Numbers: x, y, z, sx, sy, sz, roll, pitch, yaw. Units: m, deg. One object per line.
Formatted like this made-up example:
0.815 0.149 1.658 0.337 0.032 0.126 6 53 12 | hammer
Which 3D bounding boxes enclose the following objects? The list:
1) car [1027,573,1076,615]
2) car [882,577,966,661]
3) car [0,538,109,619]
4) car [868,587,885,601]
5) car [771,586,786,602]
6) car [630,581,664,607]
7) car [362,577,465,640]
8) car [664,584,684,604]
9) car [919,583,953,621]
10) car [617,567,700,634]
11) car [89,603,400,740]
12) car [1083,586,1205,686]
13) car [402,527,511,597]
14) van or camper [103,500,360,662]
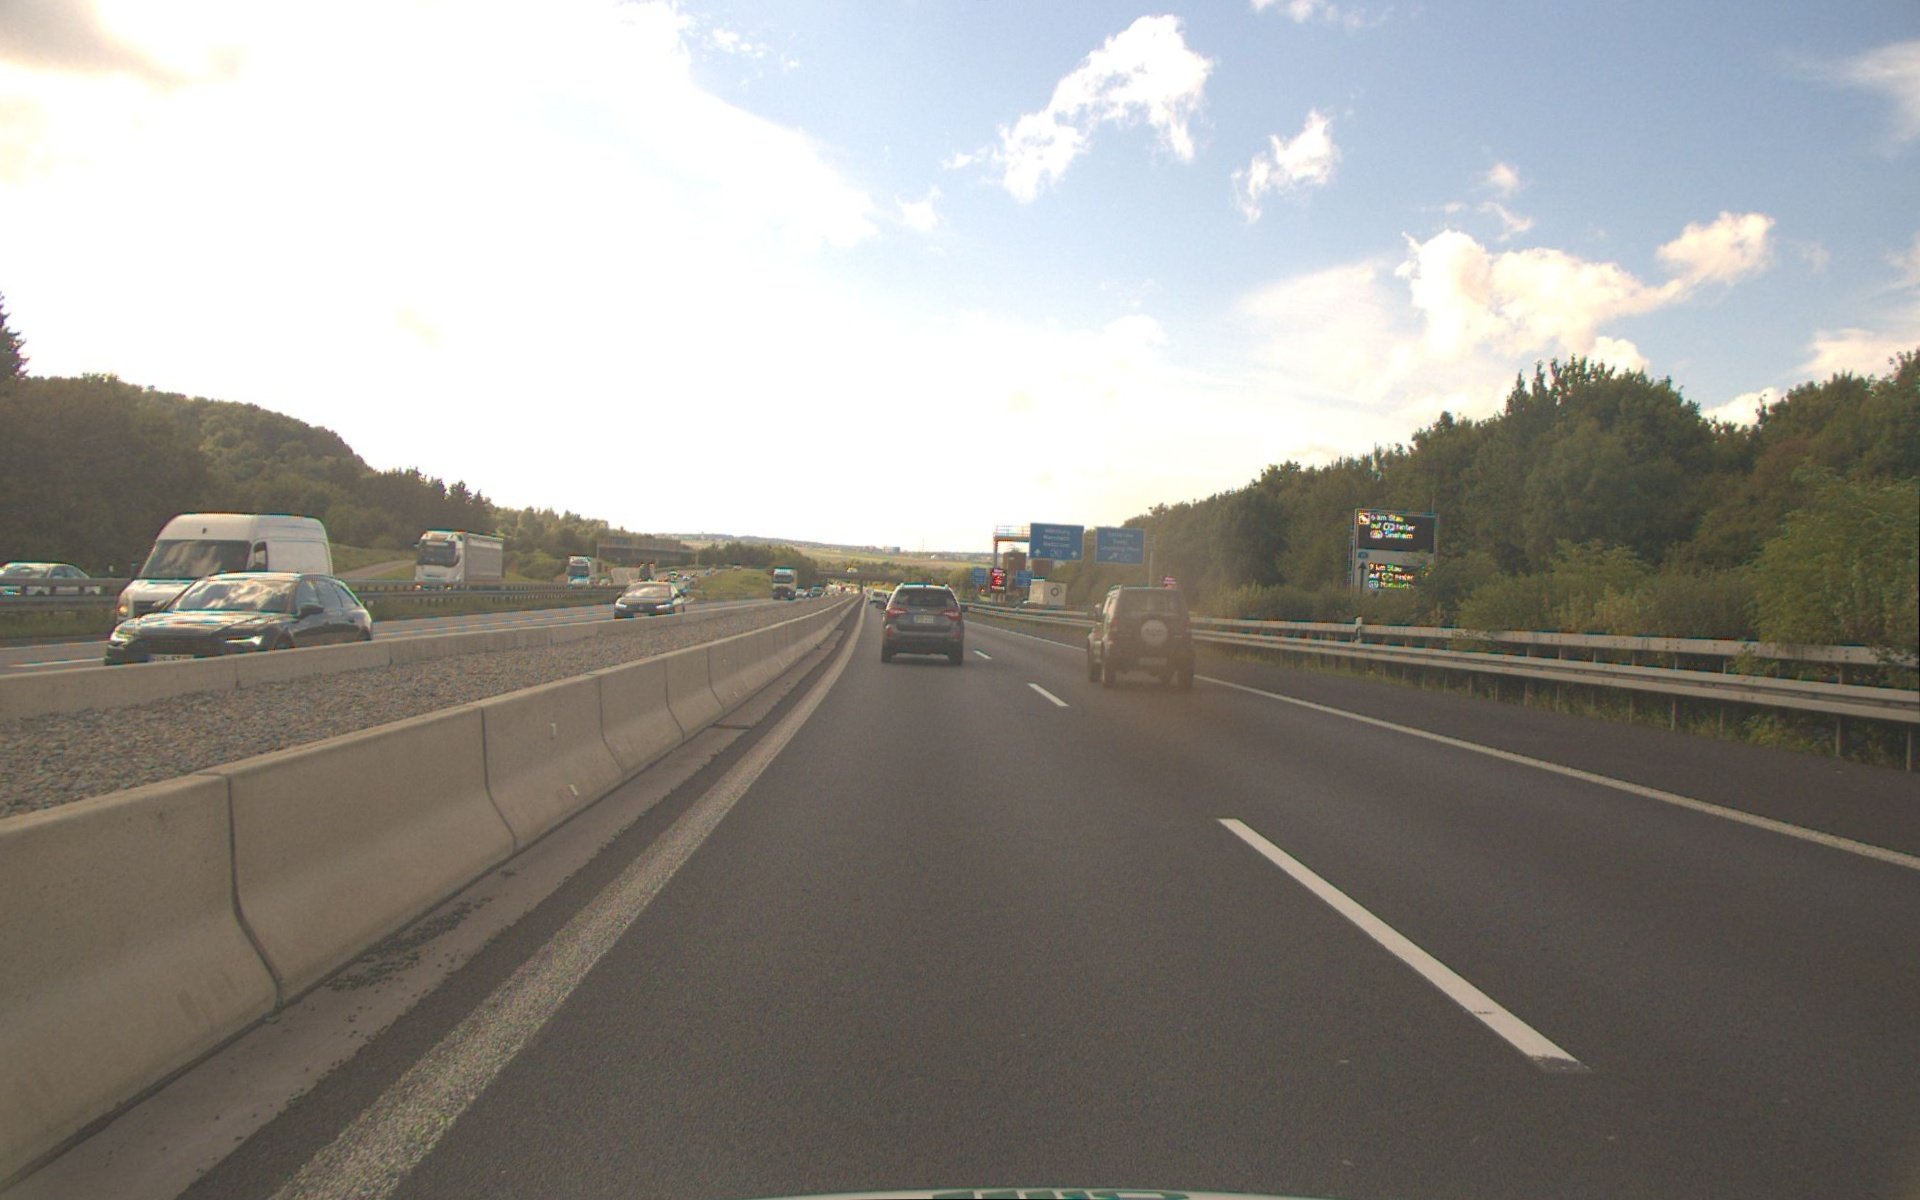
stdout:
10.378 -0.624 189.137 4.633 4.341 11.399 1 -2 -1 | car
-0.800 0.437 38.107 1.780 1.766 5.185 1 -1 -1 | car
-25.065 -0.577 44.719 1.953 2.049 4.271 1 0 -2 | car
-11.094 -0.848 219.923 1.955 1.713 3.995 1 -2 -6 | car
-24.119 -0.856 220.098 1.955 2.066 4.266 1 0 -7 | car
-22.199 -0.432 117.410 1.955 1.822 4.267 1 0 -6 | car
-15.921 0.238 48.368 1.690 1.729 4.151 1 0 -2 | car
-26.829 -0.564 155.081 1.576 1.820 4.266 1 0 -7 | car
-1.438 0.108 99.231 1.989 2.189 3.999 1 0 -1 | car
-9.683 0.009 53.392 1.953 2.049 4.271 1 0 -2 | car
-8.711 0.794 20.673 1.886 1.460 4.776 1 0 -2 | car
3.211 0.591 29.525 1.555 1.625 4.094 1 0 -2 | car
-32.434 -2.322 107.351 3.743 4.151 14.813 1 0 -5 | car
-13.437 -0.324 31.129 1.946 2.670 6.860 1 0 -2 | van or camper
